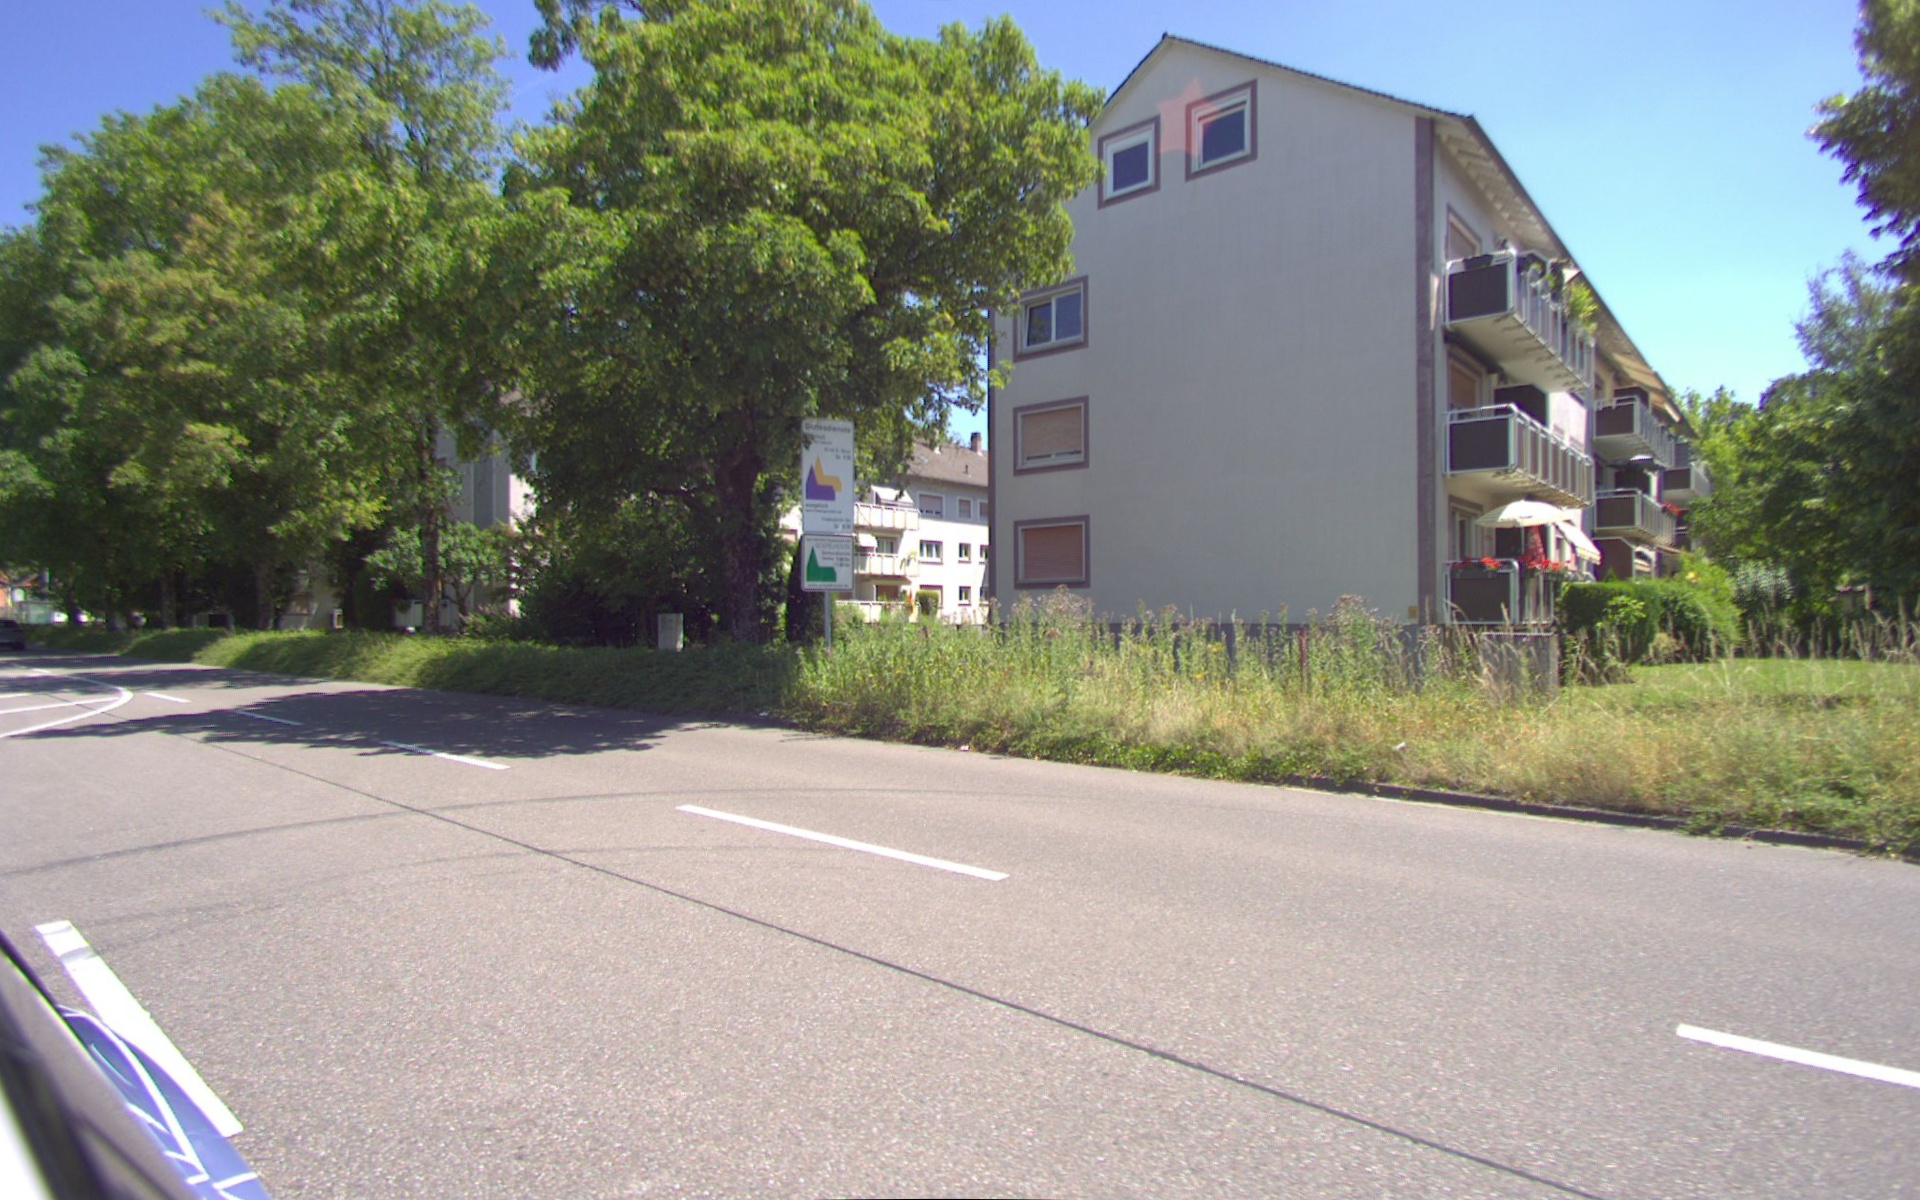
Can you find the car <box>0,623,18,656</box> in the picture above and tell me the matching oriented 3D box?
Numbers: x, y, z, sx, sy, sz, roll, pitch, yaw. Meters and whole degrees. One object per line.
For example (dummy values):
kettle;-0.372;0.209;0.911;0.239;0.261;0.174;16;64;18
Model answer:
car;-44.158;1.809;45.810;4.144;1.438;1.705;-1;0;40
